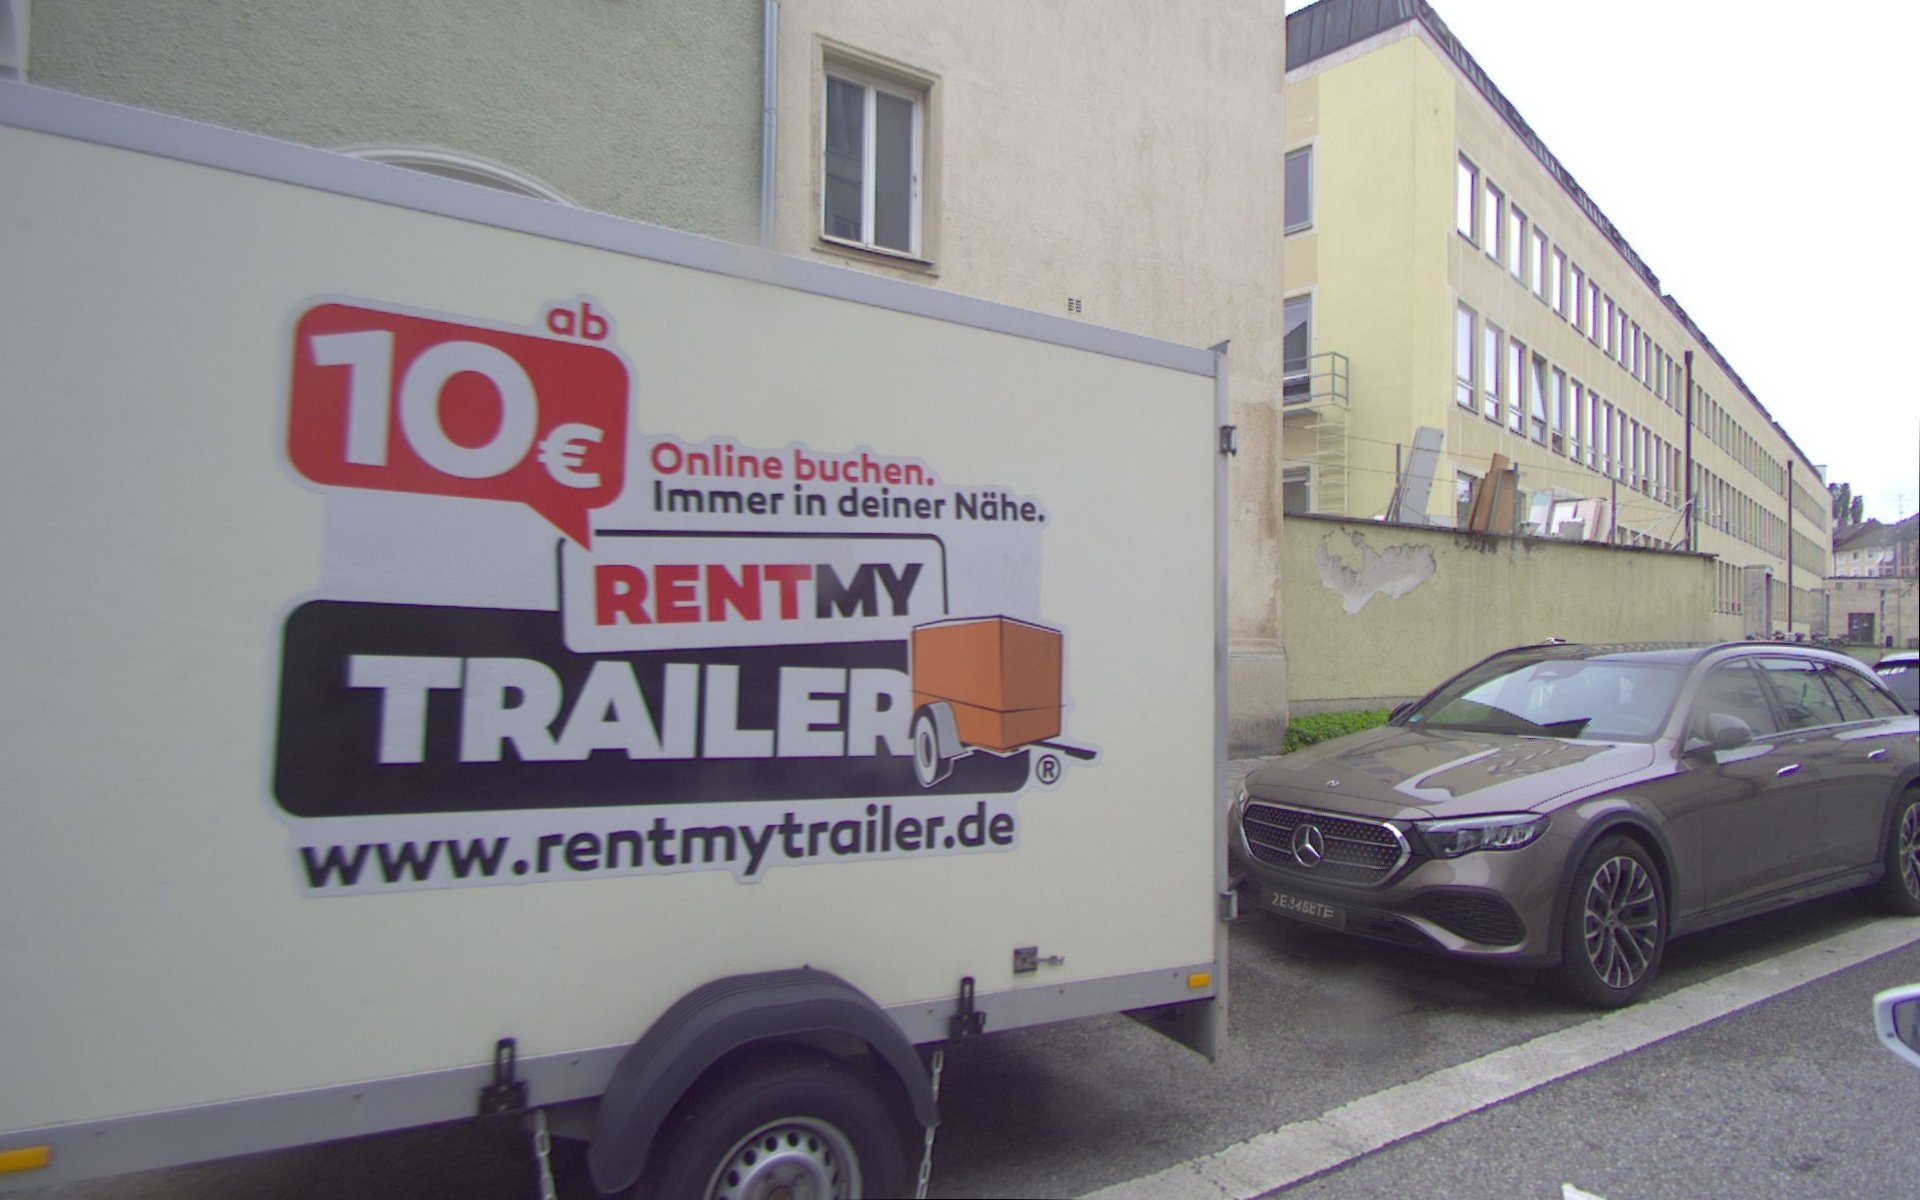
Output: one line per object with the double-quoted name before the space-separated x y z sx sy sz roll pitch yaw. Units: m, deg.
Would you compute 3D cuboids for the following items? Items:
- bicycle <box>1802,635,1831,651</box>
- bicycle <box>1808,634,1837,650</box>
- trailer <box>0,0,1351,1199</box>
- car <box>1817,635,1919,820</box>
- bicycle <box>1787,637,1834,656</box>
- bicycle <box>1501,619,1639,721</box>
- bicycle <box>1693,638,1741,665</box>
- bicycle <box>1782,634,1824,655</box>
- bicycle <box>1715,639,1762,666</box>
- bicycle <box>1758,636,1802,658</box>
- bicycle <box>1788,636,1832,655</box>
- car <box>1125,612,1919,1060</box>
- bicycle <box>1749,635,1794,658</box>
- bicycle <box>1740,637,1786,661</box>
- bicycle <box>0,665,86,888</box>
"bicycle" 54.410 2.751 63.799 1.391 0.957 0.412 1 0 43
"bicycle" 58.265 2.827 67.879 1.454 0.957 0.412 1 0 43
"trailer" -1.359 0.375 2.719 4.518 2.503 1.969 1 -4 -27
"car" 9.433 1.042 8.915 4.241 1.455 1.665 1 -3 -34
"bicycle" 46.816 2.545 55.313 0.411 0.957 1.933 1 0 -43
"bicycle" 8.015 0.902 13.179 1.847 1.249 0.798 2 -2 -31
"bicycle" 29.179 1.994 38.738 0.410 0.957 1.398 1 0 -34
"bicycle" 48.875 2.593 58.216 1.825 1.110 0.698 1 0 43
"bicycle" 30.559 2.049 39.444 0.411 0.957 1.393 1 0 -43
"bicycle" 39.274 2.255 48.116 1.583 0.957 0.501 1 0 36
"bicycle" 47.222 2.509 55.824 1.836 0.957 0.412 1 0 41
"car" 3.491 0.907 5.567 5.028 1.562 1.856 1 -3 -29
"bicycle" 37.562 2.138 46.485 1.585 0.957 0.501 1 0 41
"bicycle" 35.922 2.179 44.937 1.585 0.957 0.501 1 0 41
"bicycle" -5.424 0.893 5.020 1.506 1.099 0.458 2 0 -32
